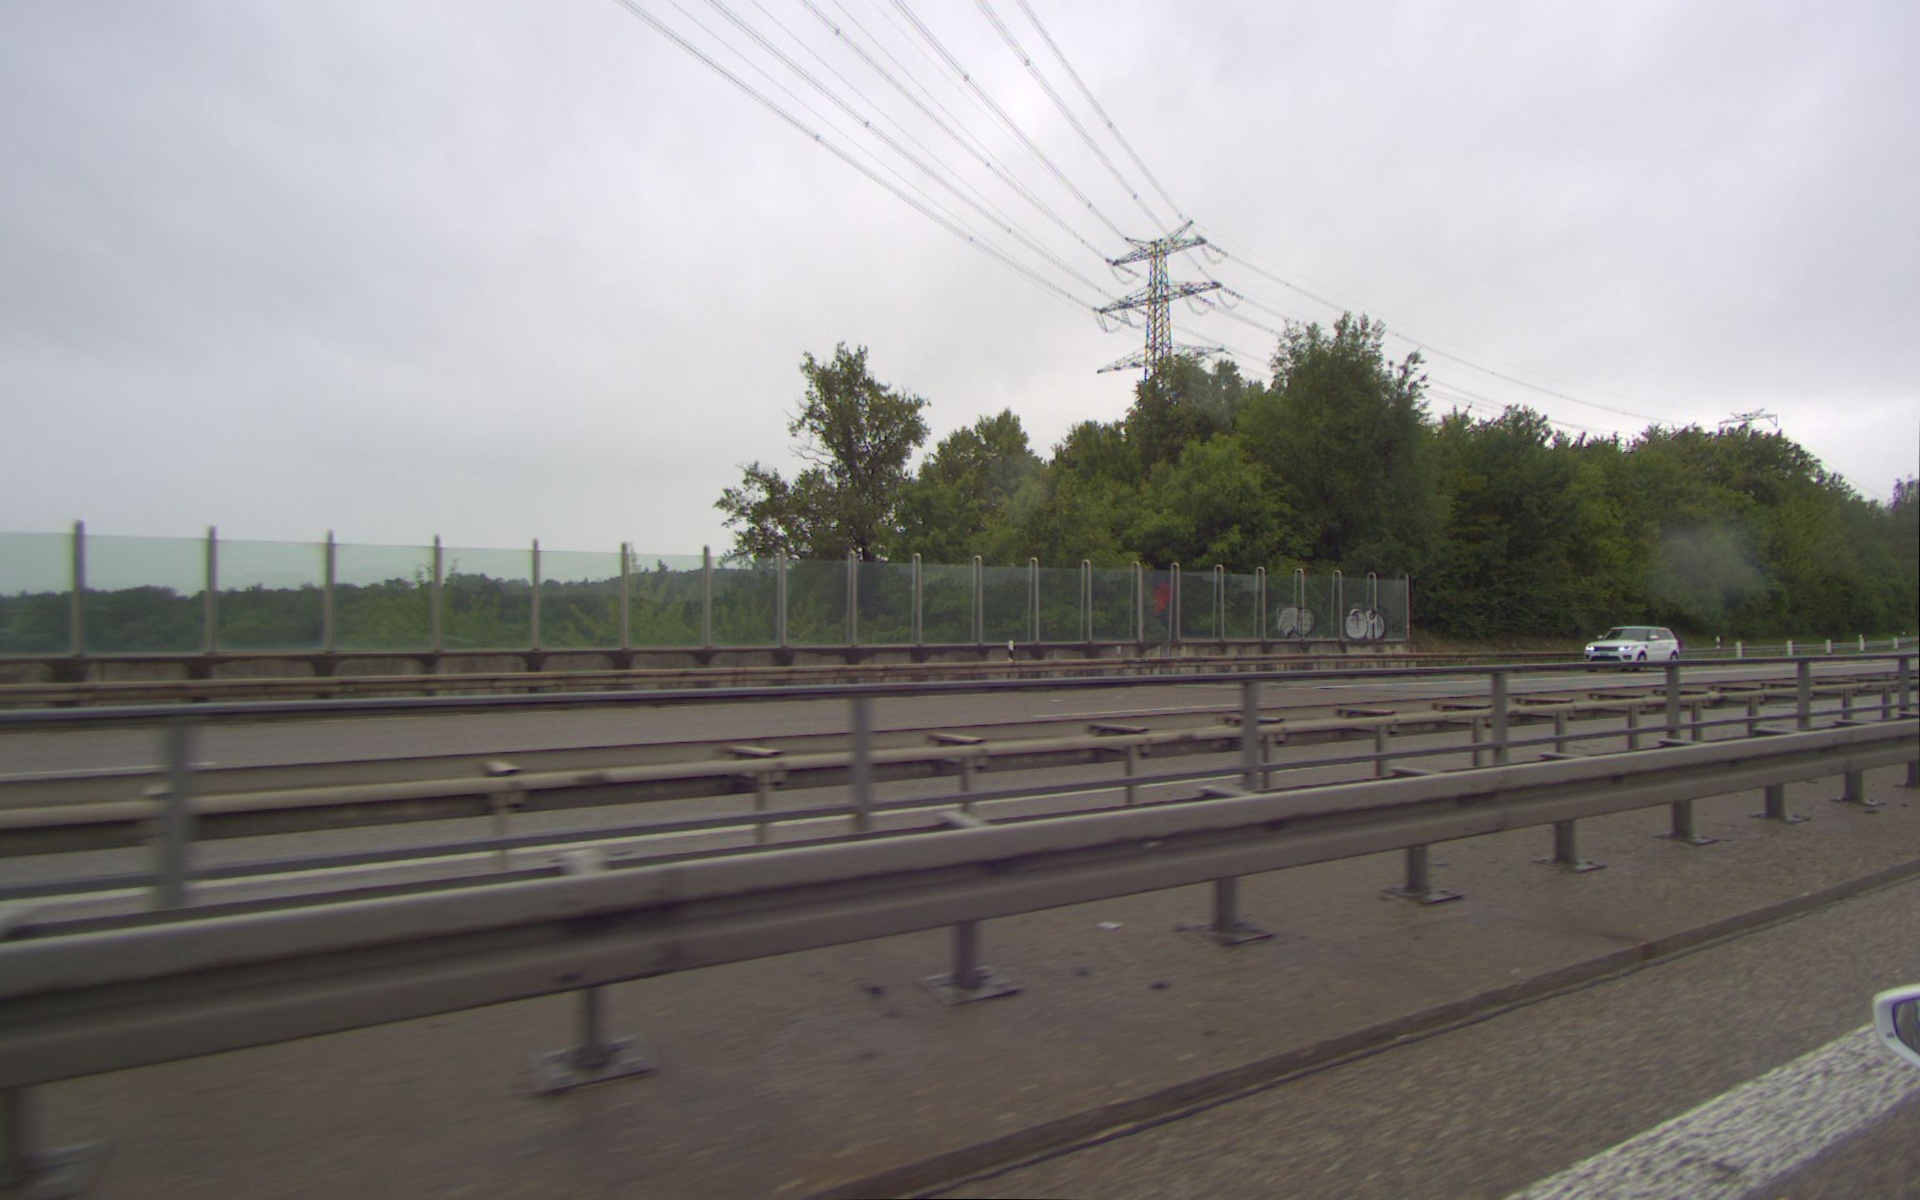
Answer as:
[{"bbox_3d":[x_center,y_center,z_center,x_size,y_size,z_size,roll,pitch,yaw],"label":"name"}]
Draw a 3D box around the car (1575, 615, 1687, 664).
[{"bbox_3d":[27.069,1.545,40.491,4.861,1.843,1.939,0,-1,-32],"label":"car"}]
